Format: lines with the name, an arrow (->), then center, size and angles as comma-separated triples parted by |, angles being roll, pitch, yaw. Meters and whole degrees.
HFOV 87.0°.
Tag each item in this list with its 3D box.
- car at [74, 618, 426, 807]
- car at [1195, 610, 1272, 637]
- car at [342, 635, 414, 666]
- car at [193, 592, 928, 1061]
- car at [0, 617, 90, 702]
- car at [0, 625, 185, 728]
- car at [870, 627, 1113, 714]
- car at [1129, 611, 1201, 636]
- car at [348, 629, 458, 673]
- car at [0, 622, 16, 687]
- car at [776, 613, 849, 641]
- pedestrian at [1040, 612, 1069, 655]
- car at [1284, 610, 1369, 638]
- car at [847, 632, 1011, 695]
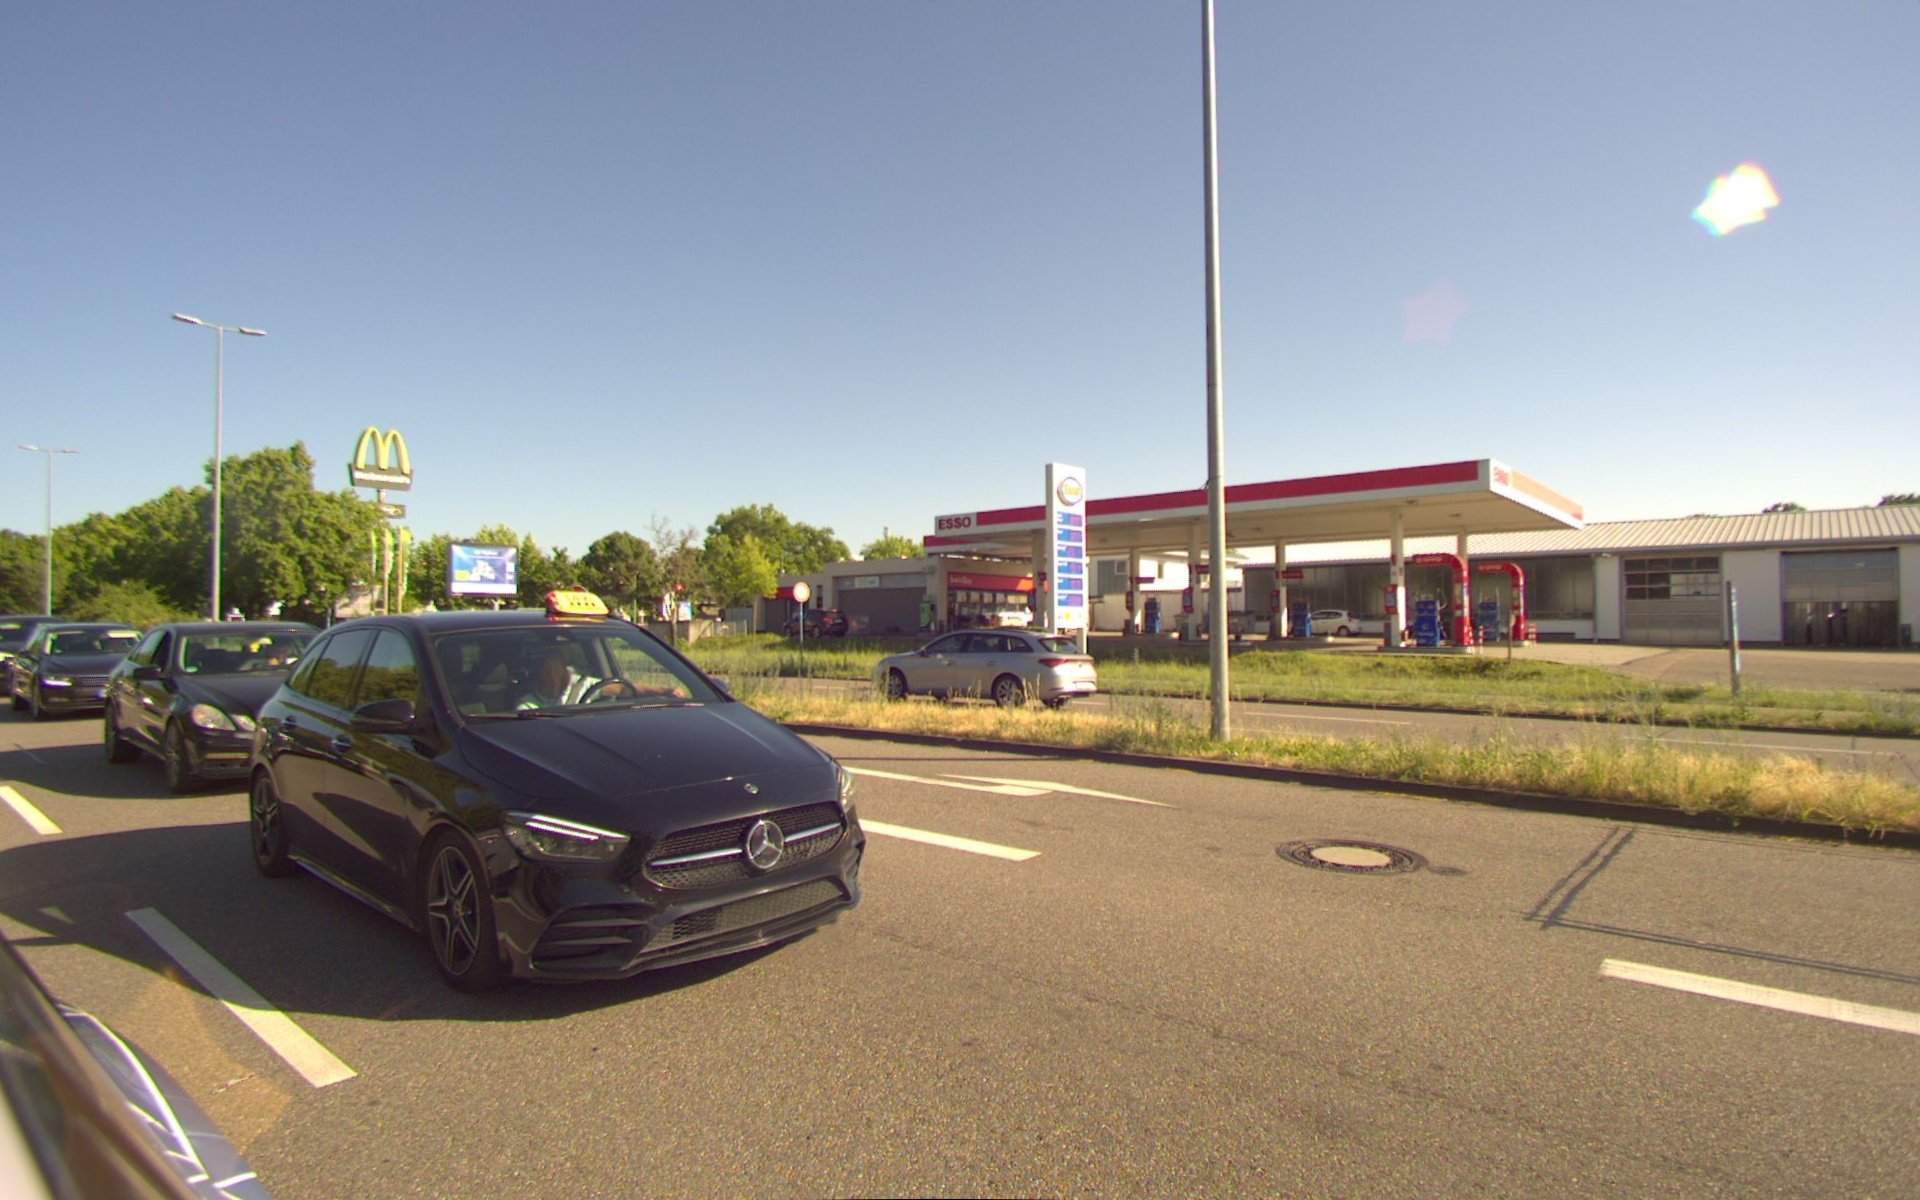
car -> -7.261, 0.934, 10.168 | 4.400, 1.449, 1.845 | -1, 0, 40
car -> 15.832, 1.360, 58.589 | 3.975, 1.420, 1.661 | -1, -4, 40
car -> -28.133, 2.421, 48.878 | 3.975, 1.420, 1.741 | -1, -4, 40
car -> -2.383, 0.741, 5.341 | 4.400, 1.502, 1.741 | -1, 0, 40
car -> -19.889, 1.206, 21.406 | 3.876, 1.629, 1.653 | -2, -1, 40
car -> -14.452, 1.158, 16.700 | 4.284, 1.438, 1.775 | -1, 0, 40
car -> 0.527, 1.260, 18.900 | 4.295, 1.420, 1.713 | 0, -3, 35
car -> 12.434, 1.403, 61.388 | 3.975, 1.420, 1.661 | -1, -4, 40
car -> -20.851, 1.893, 37.828 | 4.872, 1.502, 1.742 | -1, -4, 38
car -> -25.225, 1.373, 25.546 | 3.774, 1.567, 1.615 | -1, -1, 40
car -> -8.010, 1.479, 54.722 | 3.975, 1.420, 1.661 | -1, -4, 40
pedestrian -> 3.993, 1.410, 42.625 | 0.779, 1.763, 0.904 | -1, 0, -44
car -> 19.835, 1.308, 54.847 | 3.975, 1.420, 1.661 | -1, -4, 40
car -> -0.827, 1.569, 25.476 | 3.975, 1.420, 1.741 | -1, -4, 40
